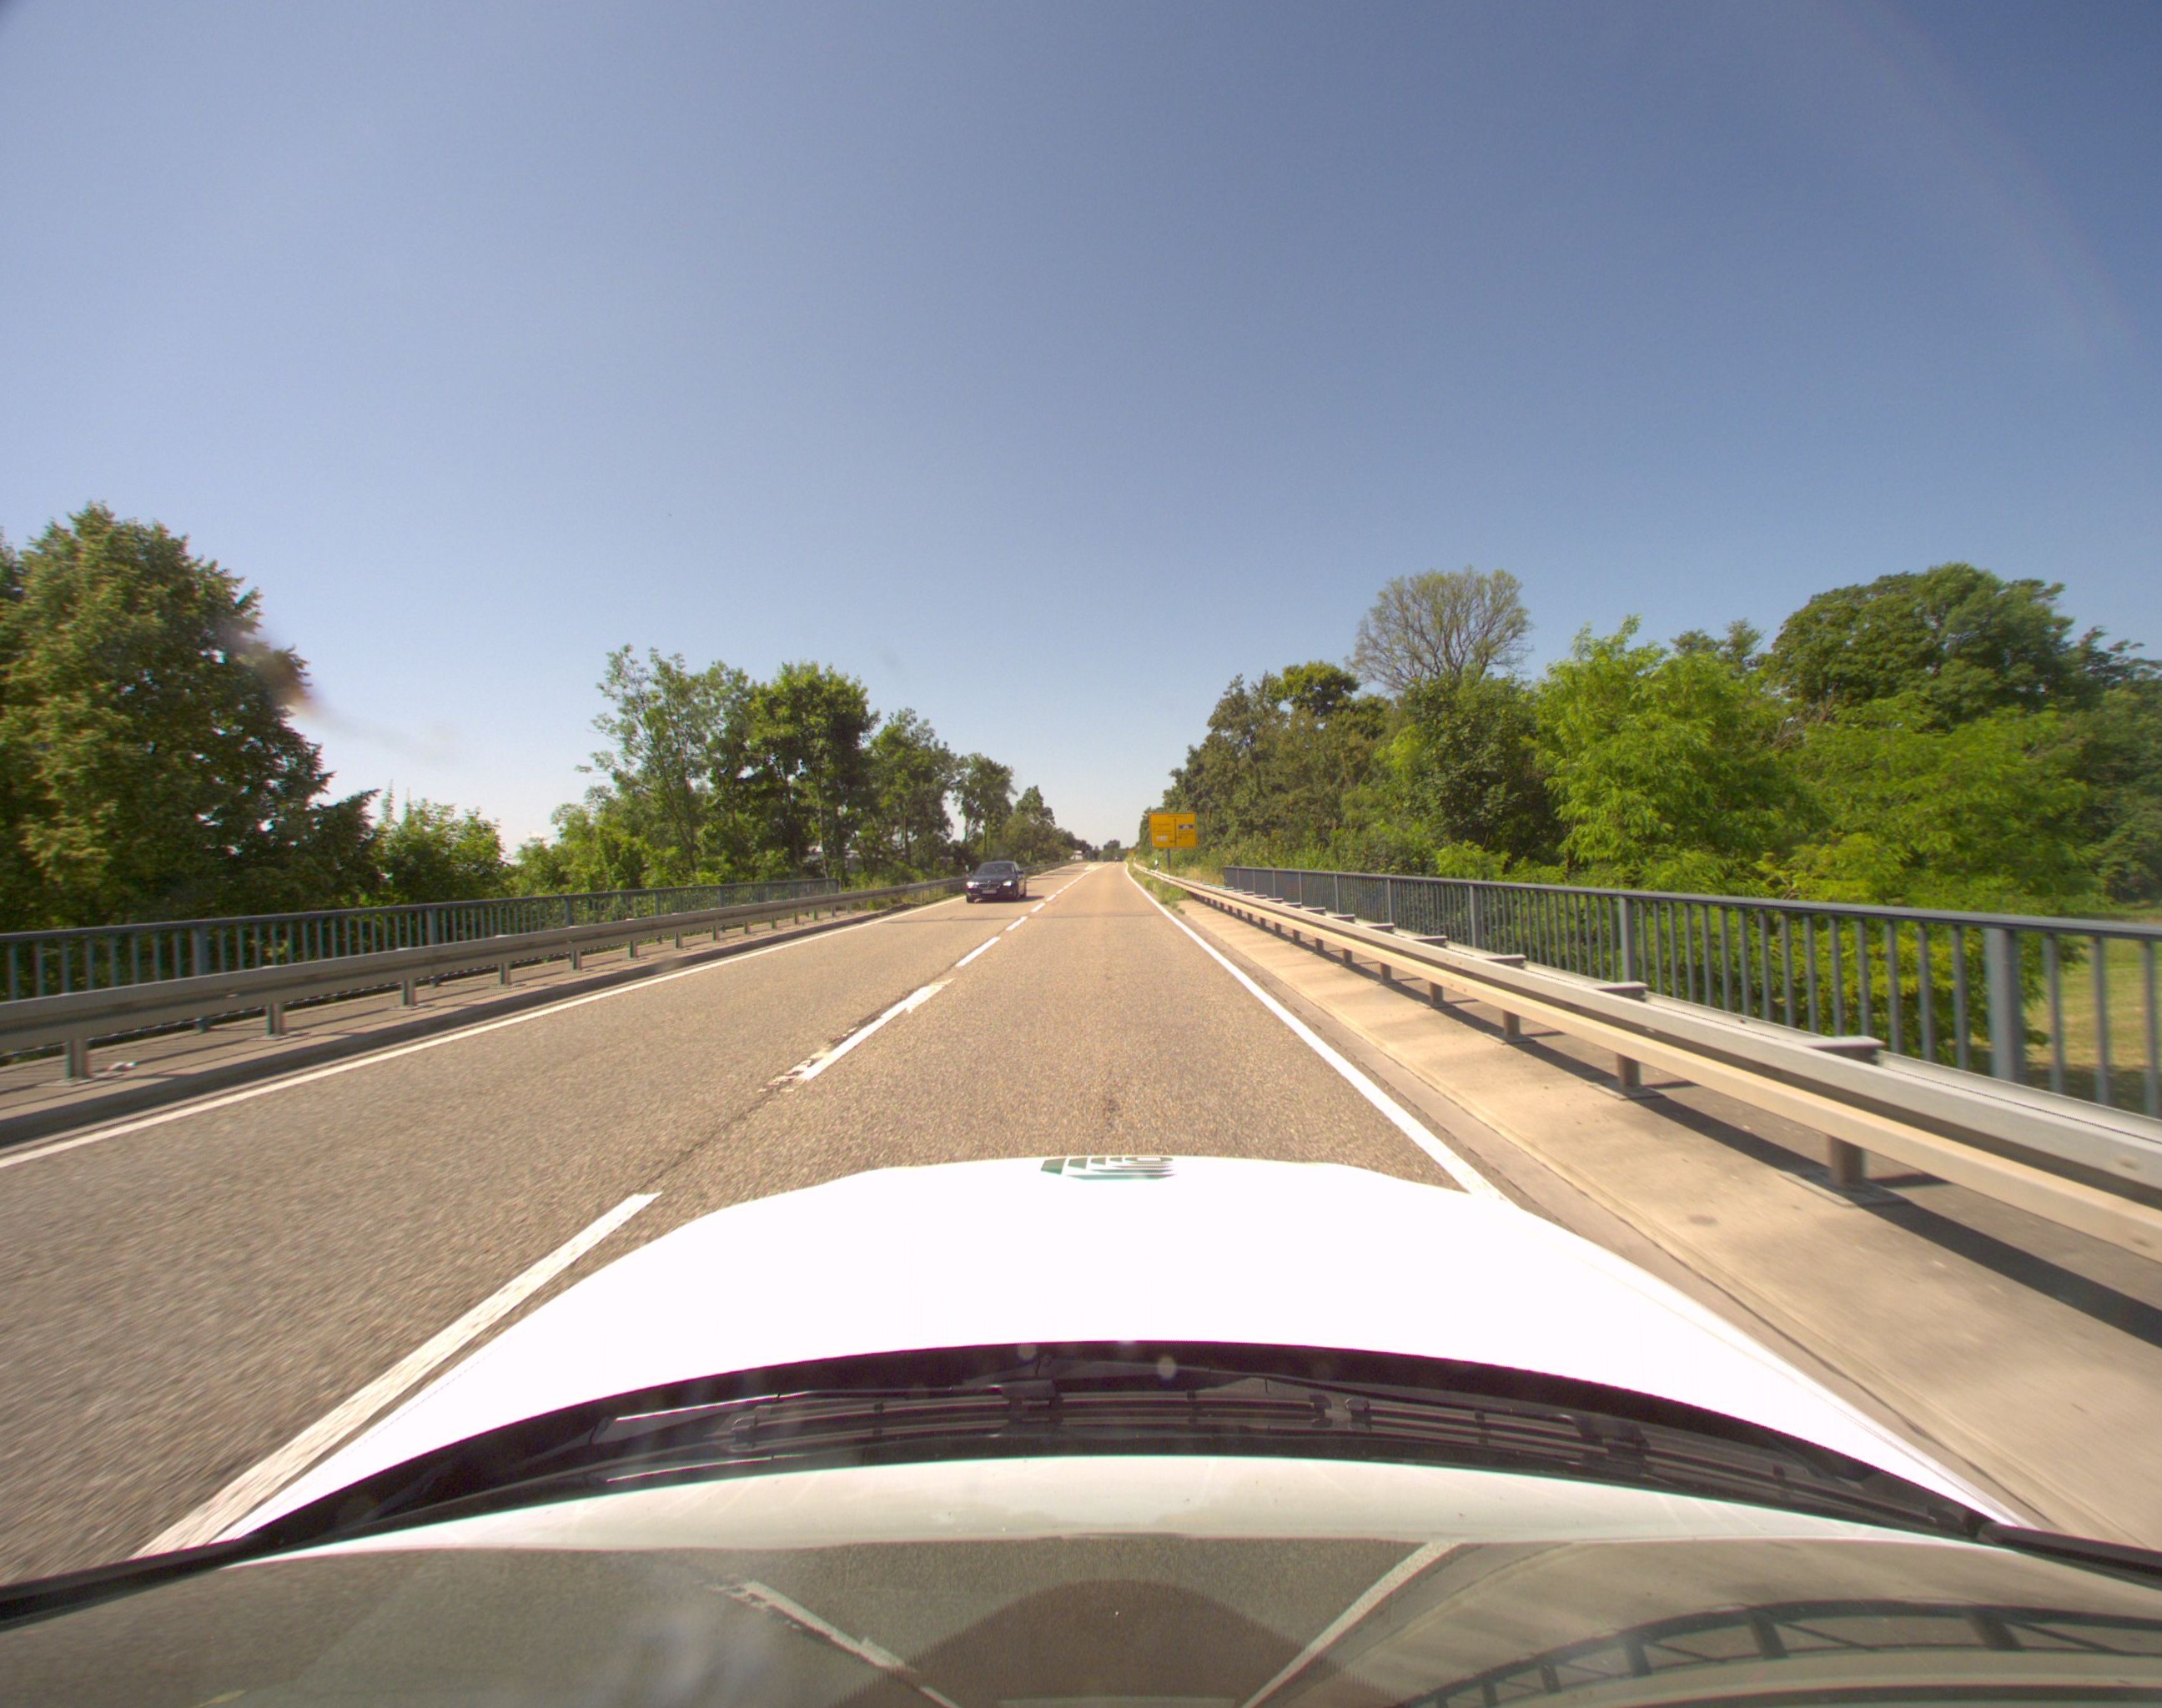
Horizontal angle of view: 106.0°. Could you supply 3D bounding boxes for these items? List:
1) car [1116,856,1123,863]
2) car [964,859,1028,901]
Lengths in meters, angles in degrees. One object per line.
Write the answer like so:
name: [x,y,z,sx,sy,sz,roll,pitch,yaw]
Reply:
car: [9.419,1.357,199.894,1.734,1.470,3.695,-1,0,3]
car: [-3.138,0.931,30.824,1.739,1.425,4.679,-2,-1,2]
